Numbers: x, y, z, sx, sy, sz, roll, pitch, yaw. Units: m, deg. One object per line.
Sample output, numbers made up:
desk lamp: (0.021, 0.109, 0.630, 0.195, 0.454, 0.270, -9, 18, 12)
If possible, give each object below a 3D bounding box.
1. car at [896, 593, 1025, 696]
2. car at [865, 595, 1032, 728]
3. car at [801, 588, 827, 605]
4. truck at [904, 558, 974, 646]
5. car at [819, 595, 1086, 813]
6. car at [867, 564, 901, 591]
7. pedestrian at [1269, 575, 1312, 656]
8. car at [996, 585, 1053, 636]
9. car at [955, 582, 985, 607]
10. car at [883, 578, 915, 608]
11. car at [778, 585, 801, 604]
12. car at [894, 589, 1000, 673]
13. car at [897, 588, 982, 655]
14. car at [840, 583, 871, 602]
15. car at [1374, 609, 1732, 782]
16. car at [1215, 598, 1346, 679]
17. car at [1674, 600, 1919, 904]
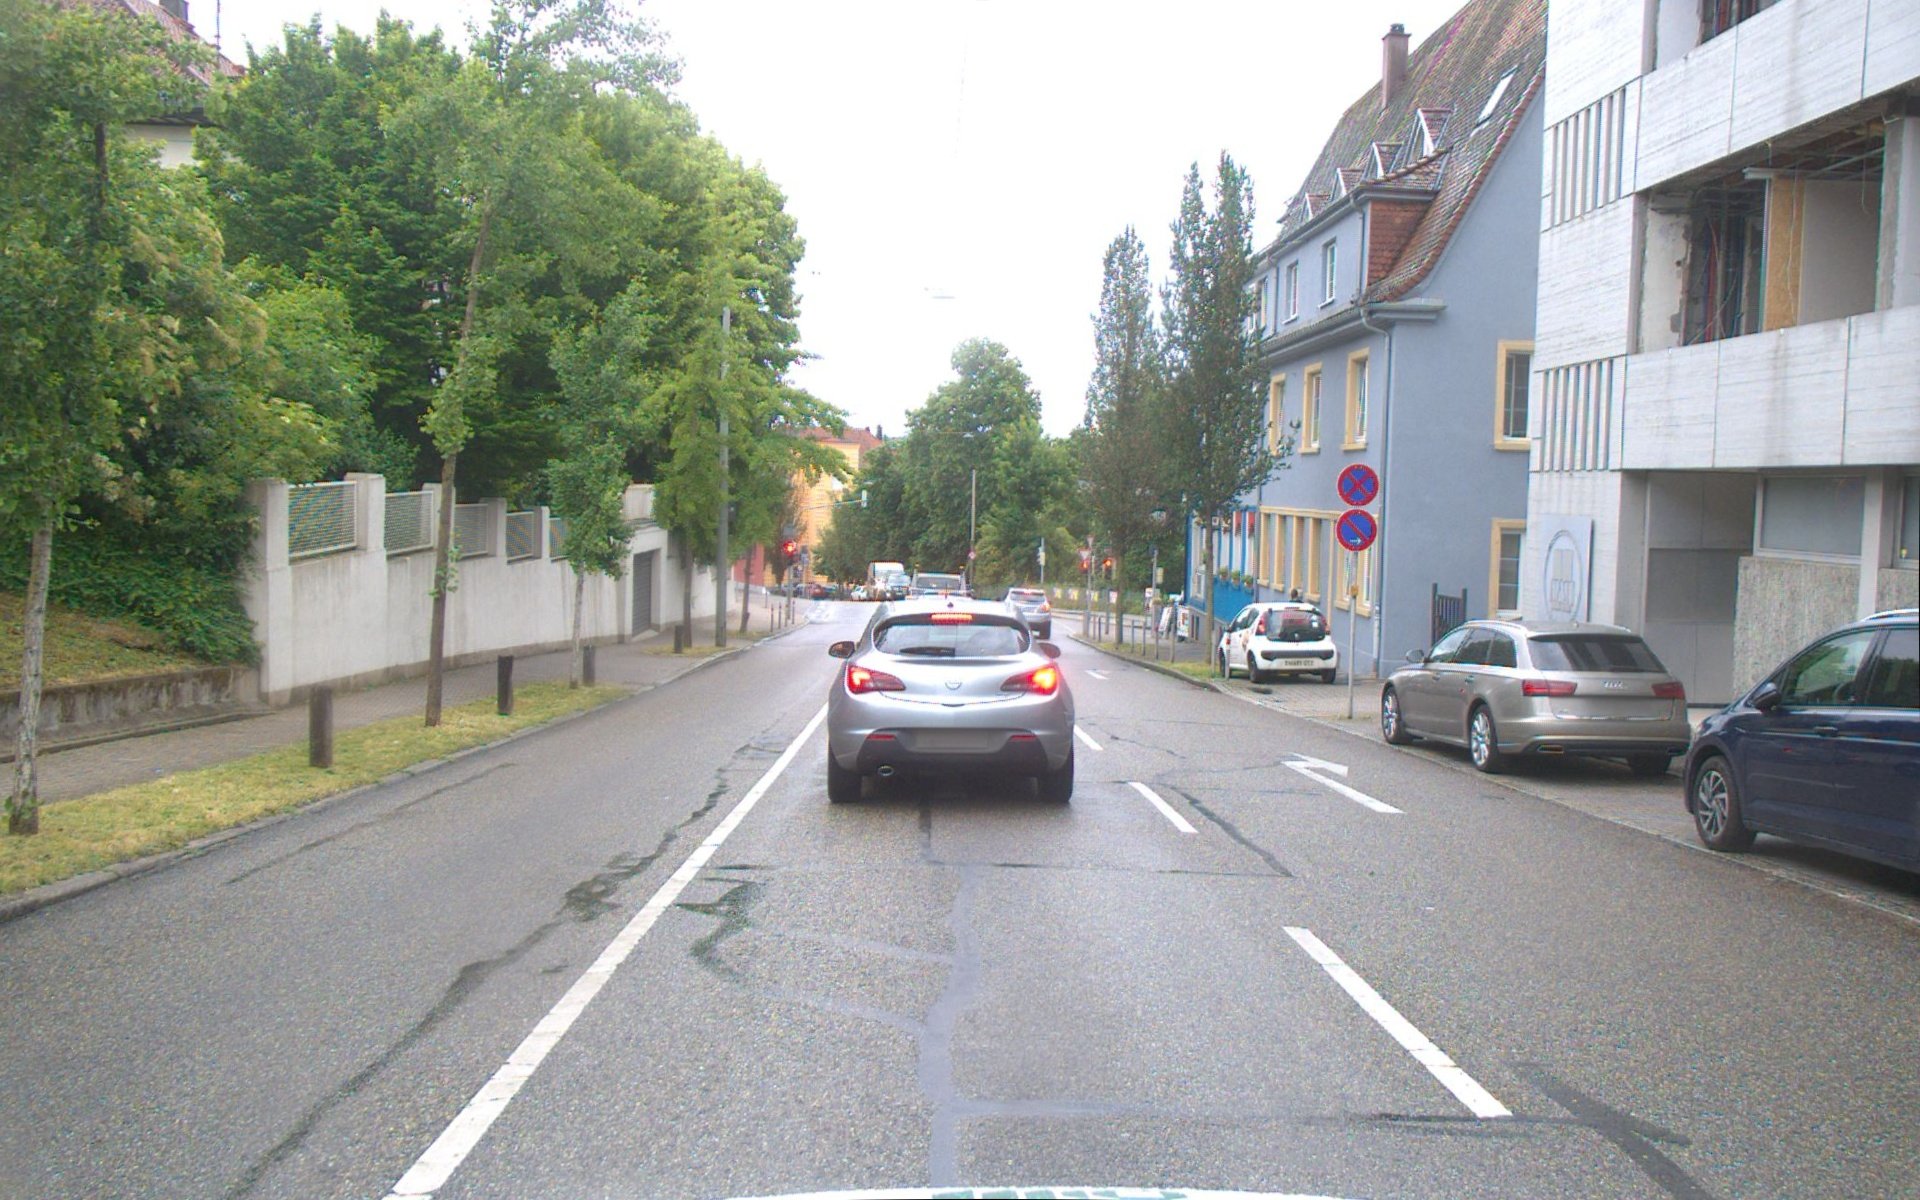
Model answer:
car: (-0.061, 0.673, 27.395, 1.922, 1.473, 4.303, 2, 0, -2)
car: (-0.212, 0.724, 21.671, 1.922, 1.473, 4.303, 2, 0, -2)
car: (-14.214, -0.368, 161.211, 1.696, 1.666, 3.859, 0, 0, -18)
truck: (-0.694, 0.039, 50.427, 1.922, 2.471, 4.934, 2, 0, -2)
car: (-0.137, 0.705, 13.214, 1.800, 1.459, 3.877, 1, 0, -3)
car: (-4.792, -1.391, 103.516, 1.691, 1.666, 3.871, 0, 0, -10)
pedestrian: (7.388, 0.345, 37.007, 0.767, 1.759, 0.650, 2, 0, -1)
car: (2.254, 0.350, 58.508, 1.688, 1.744, 3.877, 0, 0, -3)
car: (0.676, -0.394, 112.265, 1.689, 1.666, 3.876, 0, 0, -4)
car: (-3.541, -0.417, 95.898, 1.833, 1.666, 3.878, 0, 0, -2)
car: (-16.050, -0.518, 155.750, 1.692, 1.666, 3.868, 2, -1, -12)
car: (-0.316, 0.567, 32.771, 1.922, 1.473, 4.303, 2, 0, -2)
car: (-0.551, 0.484, 40.428, 1.922, 1.473, 4.303, 2, 0, -2)
car: (-9.010, -0.661, 142.538, 1.696, 1.570, 3.859, 0, 0, -18)
car: (5.953, 0.883, 17.258, 1.923, 1.473, 4.524, 1, 1, -3)
car: (6.153, 0.699, 32.143, 1.688, 1.473, 3.878, 0, 0, -2)
car: (5.994, 0.829, 9.649, 1.694, 1.627, 4.159, 1, 0, -3)
